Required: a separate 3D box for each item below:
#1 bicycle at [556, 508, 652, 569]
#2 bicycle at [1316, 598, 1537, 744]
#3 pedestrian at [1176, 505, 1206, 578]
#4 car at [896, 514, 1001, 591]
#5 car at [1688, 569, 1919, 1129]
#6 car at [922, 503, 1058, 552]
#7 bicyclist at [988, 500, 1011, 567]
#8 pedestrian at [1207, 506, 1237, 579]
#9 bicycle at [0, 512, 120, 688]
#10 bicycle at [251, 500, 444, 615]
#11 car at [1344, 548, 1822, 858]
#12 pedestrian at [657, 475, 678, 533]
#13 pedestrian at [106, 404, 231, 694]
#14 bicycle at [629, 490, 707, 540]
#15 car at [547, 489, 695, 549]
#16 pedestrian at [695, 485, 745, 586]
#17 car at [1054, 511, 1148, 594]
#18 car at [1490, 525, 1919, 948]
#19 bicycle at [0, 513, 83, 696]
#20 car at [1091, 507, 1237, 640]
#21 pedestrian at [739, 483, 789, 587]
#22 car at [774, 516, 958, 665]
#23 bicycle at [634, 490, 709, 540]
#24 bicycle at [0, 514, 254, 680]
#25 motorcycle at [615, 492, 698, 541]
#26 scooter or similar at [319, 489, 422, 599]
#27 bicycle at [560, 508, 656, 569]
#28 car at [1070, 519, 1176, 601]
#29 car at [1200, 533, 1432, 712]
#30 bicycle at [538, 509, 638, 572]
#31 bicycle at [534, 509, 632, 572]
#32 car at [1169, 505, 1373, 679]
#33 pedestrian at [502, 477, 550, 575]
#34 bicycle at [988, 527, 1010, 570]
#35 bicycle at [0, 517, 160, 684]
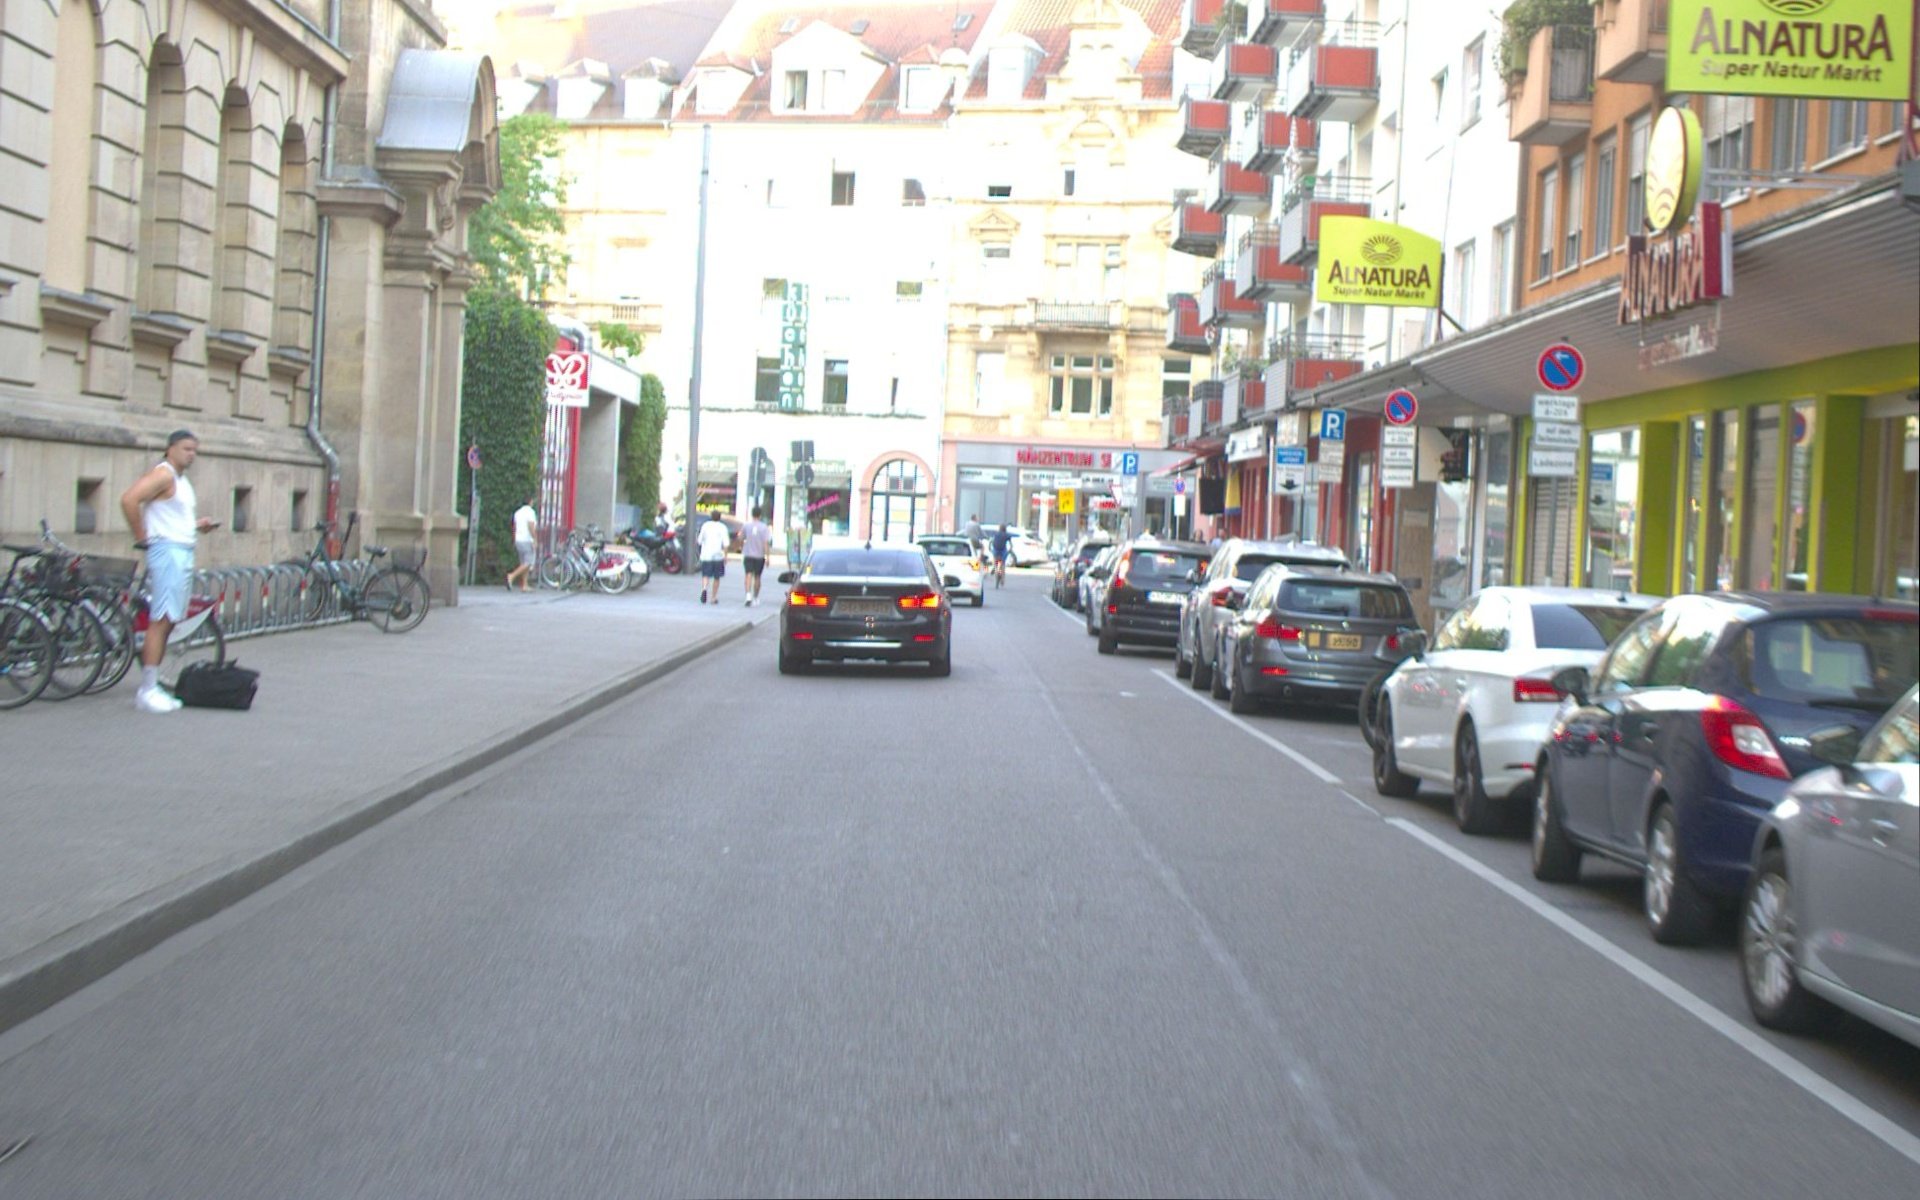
[{"bbox_3d":[-7.073,-1.226,68.320,1.794,1.104,0.500,3,1,3],"label":"bicycle"},{"bbox_3d":[3.618,0.557,26.605,1.732,1.052,0.659,2,2,-41],"label":"bicycle"},{"bbox_3d":[5.250,-1.334,78.177,0.648,1.655,0.655,0,1,2],"label":"pedestrian"},{"bbox_3d":[-0.216,-1.020,71.632,1.878,1.468,4.000,2,2,4],"label":"car"},{"bbox_3d":[3.524,0.752,10.314,1.687,1.448,4.498,5,2,1],"label":"car"},{"bbox_3d":[1.069,-2.564,121.155,4.357,1.557,1.866,3,1,23],"label":"car"},{"bbox_3d":[1.065,-1.792,92.298,0.523,1.750,0.620,3,1,1],"label":"bicyclist"},{"bbox_3d":[5.948,-1.307,78.126,0.648,1.655,0.794,0,1,2],"label":"pedestrian"},{"bbox_3d":[-6.524,-0.041,22.663,1.794,1.104,0.500,4,1,-6],"label":"bicycle"},{"bbox_3d":[-6.658,-0.465,37.380,1.936,1.058,0.620,5,1,-15],"label":"bicycle"},{"bbox_3d":[3.574,0.516,20.599,1.691,1.406,4.640,5,2,-3],"label":"car"},{"bbox_3d":[-8.412,-2.762,98.798,0.500,1.637,0.520,2,2,2],"label":"pedestrian"},{"bbox_3d":[-5.230,-0.344,22.740,0.588,1.845,0.755,4,1,-6],"label":"pedestrian"},{"bbox_3d":[-7.230,-2.112,85.117,1.794,1.104,0.500,4,1,2],"label":"bicycle"},{"bbox_3d":[-9.423,-2.244,95.360,3.986,1.496,1.892,2,2,-8],"label":"car"},{"bbox_3d":[-4.476,-1.207,64.217,0.741,1.806,1.009,5,2,-1],"label":"pedestrian"},{"bbox_3d":[3.131,-1.097,77.142,1.765,1.636,4.791,5,2,0],"label":"car"},{"bbox_3d":[3.613,0.513,15.424,1.618,1.511,4.174,5,2,-1],"label":"car"},{"bbox_3d":[-6.465,-0.020,21.463,1.794,1.104,0.500,4,1,-6],"label":"bicycle"},{"bbox_3d":[2.859,-0.414,47.658,1.794,1.604,4.486,5,2,4],"label":"car"},{"bbox_3d":[-3.675,-1.233,64.577,0.744,1.887,1.050,4,2,1],"label":"pedestrian"},{"bbox_3d":[-0.958,-0.157,37.393,1.765,1.370,4.791,3,2,0],"label":"car"},{"bbox_3d":[-7.212,-2.123,85.866,1.794,1.104,0.500,4,1,-5],"label":"bicycle"},{"bbox_3d":[-6.097,-0.033,24.519,1.937,1.058,0.620,4,1,-2],"label":"bicycle"},{"bbox_3d":[-7.340,-2.027,83.091,1.803,1.060,0.763,4,2,26],"label":"motorcycle"},{"bbox_3d":[-7.062,-0.673,41.168,1.132,1.228,0.497,3,1,-12],"label":"scooter or similar"},{"bbox_3d":[-7.059,-1.235,68.953,1.794,1.104,0.500,3,1,3],"label":"bicycle"},{"bbox_3d":[3.319,-0.851,70.607,1.698,1.447,4.459,5,2,-2],"label":"car"},{"bbox_3d":[3.381,0.159,33.449,1.691,1.410,4.757,5,2,0],"label":"car"},{"bbox_3d":[-7.116,-1.136,65.800,1.794,1.104,0.500,3,1,0],"label":"bicycle"},{"bbox_3d":[-7.247,-1.149,66.146,1.794,1.104,0.500,3,1,-1],"label":"bicycle"},{"bbox_3d":[3.404,-0.148,38.411,1.752,1.662,4.757,5,2,0],"label":"car"},{"bbox_3d":[-7.956,-1.354,63.038,0.717,1.748,0.848,2,1,-1],"label":"pedestrian"},{"bbox_3d":[1.047,-1.381,92.330,0.536,1.104,1.800,3,1,1],"label":"bicycle"},{"bbox_3d":[-6.522,-0.034,23.478,1.937,1.058,0.620,4,1,-6],"label":"bicycle"}]
